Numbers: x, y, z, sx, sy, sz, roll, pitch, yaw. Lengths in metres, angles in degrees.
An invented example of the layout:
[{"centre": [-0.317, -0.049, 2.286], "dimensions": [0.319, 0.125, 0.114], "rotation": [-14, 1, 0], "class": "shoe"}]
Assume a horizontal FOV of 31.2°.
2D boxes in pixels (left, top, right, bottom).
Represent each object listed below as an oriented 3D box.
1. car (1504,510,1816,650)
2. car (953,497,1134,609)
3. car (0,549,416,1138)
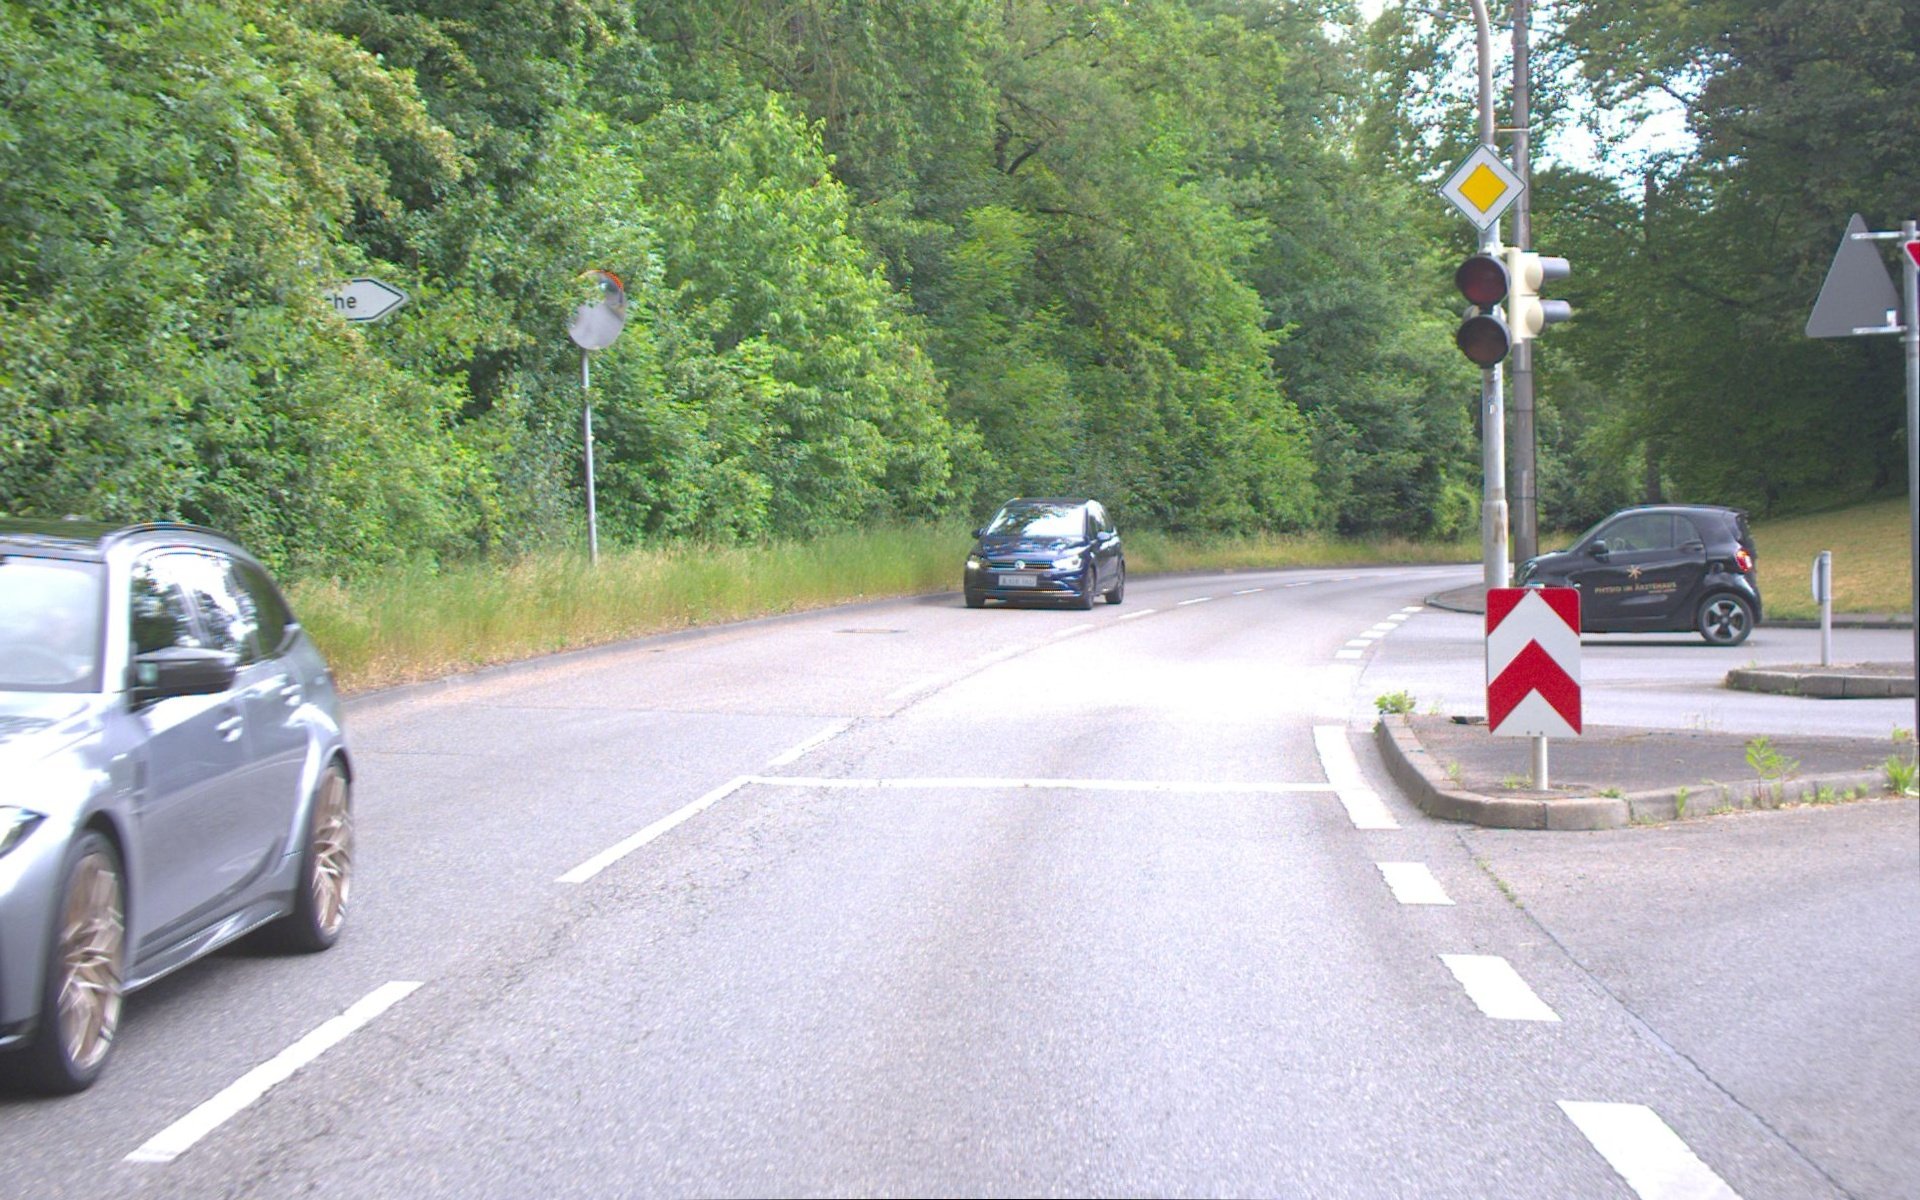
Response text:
[{"centre": [7.751, -0.235, 38.092], "dimensions": [3.305, 1.489, 1.667], "rotation": [0, 1, 13], "class": "car"}, {"centre": [1.260, -0.685, 49.366], "dimensions": [1.789, 1.509, 4.840], "rotation": [-1, 1, 11], "class": "car"}, {"centre": [-3.104, 0.539, 10.392], "dimensions": [1.898, 1.349, 4.842], "rotation": [2, 1, 3], "class": "car"}]
